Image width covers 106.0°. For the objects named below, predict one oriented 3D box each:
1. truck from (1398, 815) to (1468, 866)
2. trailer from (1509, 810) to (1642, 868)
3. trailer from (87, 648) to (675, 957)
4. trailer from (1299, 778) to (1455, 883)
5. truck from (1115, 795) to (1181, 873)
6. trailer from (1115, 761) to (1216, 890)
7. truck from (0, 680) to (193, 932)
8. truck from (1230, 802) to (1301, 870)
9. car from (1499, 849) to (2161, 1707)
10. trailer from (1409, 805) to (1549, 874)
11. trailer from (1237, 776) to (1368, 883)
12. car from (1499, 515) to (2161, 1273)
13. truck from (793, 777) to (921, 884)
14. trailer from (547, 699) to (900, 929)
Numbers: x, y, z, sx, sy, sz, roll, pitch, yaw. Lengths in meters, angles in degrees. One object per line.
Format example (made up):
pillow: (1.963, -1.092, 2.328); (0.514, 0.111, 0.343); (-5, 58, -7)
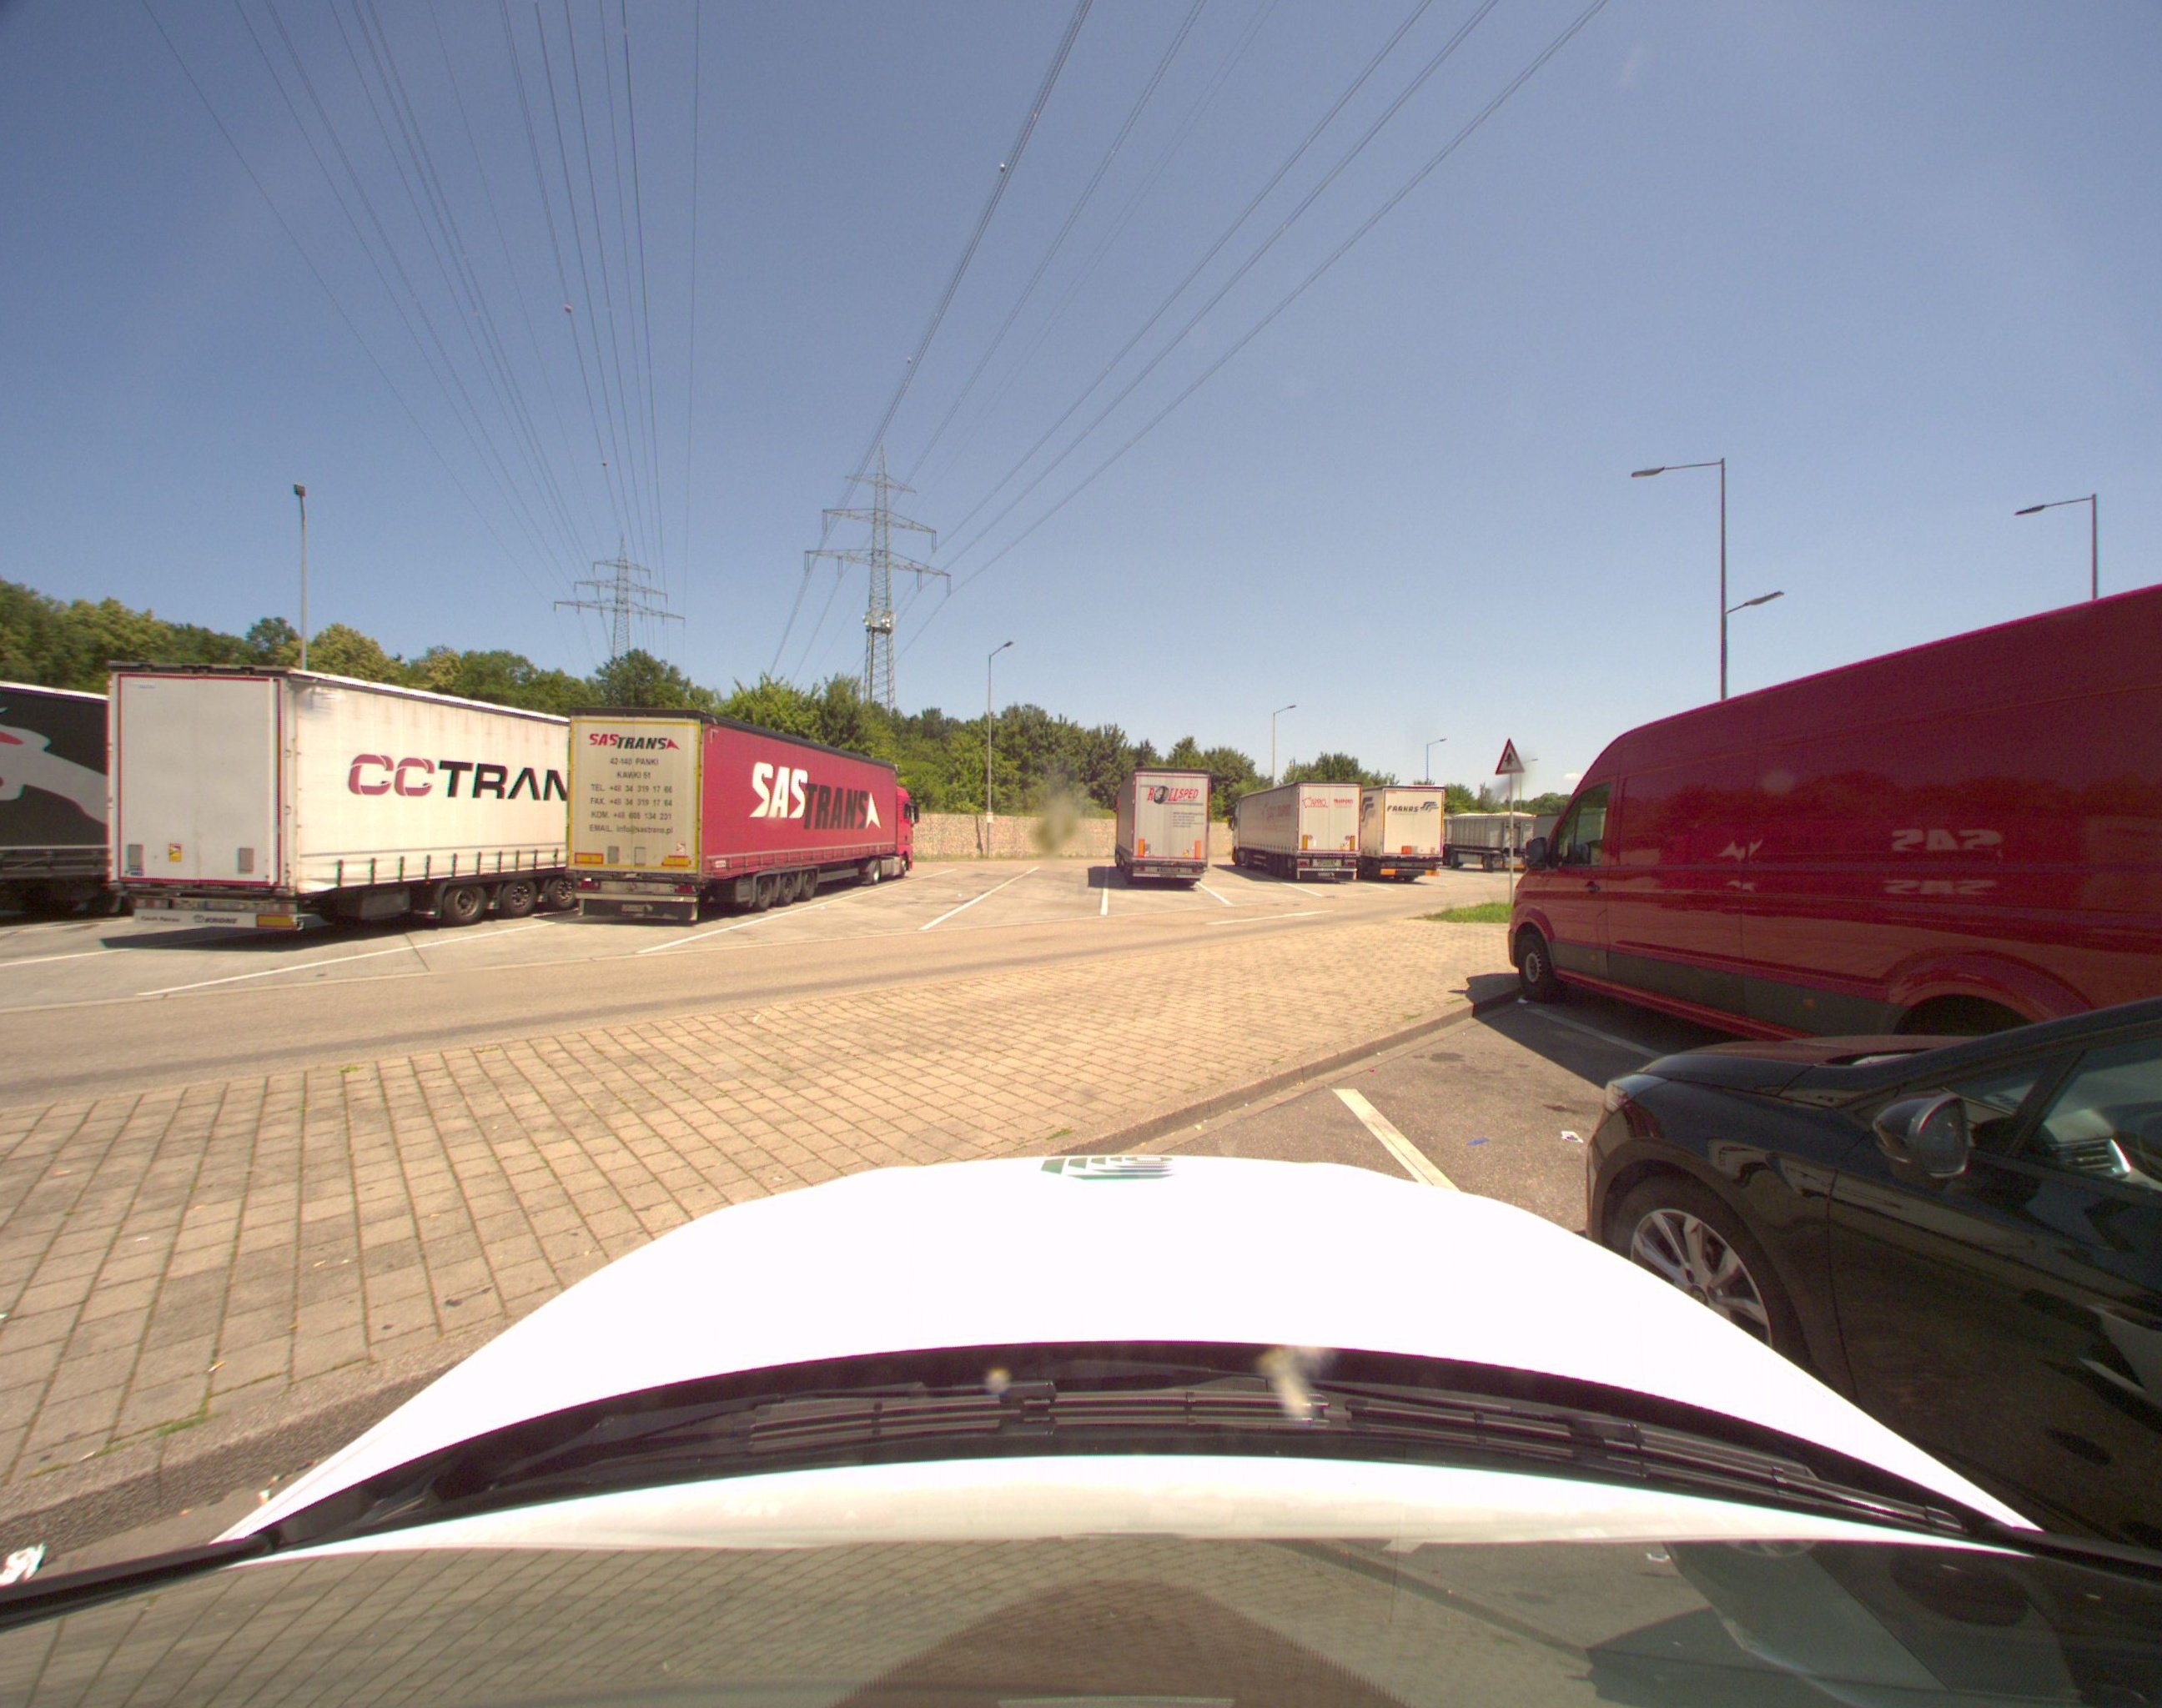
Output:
truck: (24.924, -0.995, 57.960); (2.840, 3.364, 5.488); (1, 1, 3)
trailer: (38.377, -1.217, 64.147); (2.826, 4.049, 13.737); (1, 2, 3)
trailer: (-12.196, -0.888, 16.332); (2.718, 4.209, 10.175); (1, 2, 2)
trailer: (13.617, -1.110, 39.294); (2.828, 4.132, 13.730); (1, 2, 2)
truck: (3.174, -0.981, 39.915); (2.841, 3.483, 5.486); (1, 1, 2)
trailer: (3.031, -1.095, 33.302); (2.896, 4.132, 13.727); (1, 2, 1)
truck: (-18.571, -0.802, 13.567); (2.692, 4.016, 4.326); (1, 2, 2)
truck: (10.168, -1.019, 45.441); (2.841, 3.483, 5.486); (1, 1, 2)
car: (2.528, 0.760, 1.185); (1.733, 1.482, 3.813); (-1, 1, -3)
trailer: (24.536, -0.986, 51.461); (2.826, 3.717, 13.737); (1, 2, 3)
trailer: (9.961, -1.144, 38.630); (2.828, 4.132, 13.730); (1, 2, 2)
car: (5.171, 0.094, 5.496); (2.055, 2.695, 6.405); (-1, 1, 6)
truck: (-7.794, -0.832, 29.098); (2.841, 3.427, 5.486); (1, 1, 2)
trailer: (-8.031, -0.950, 21.661); (2.896, 4.131, 13.731); (1, 2, 2)
